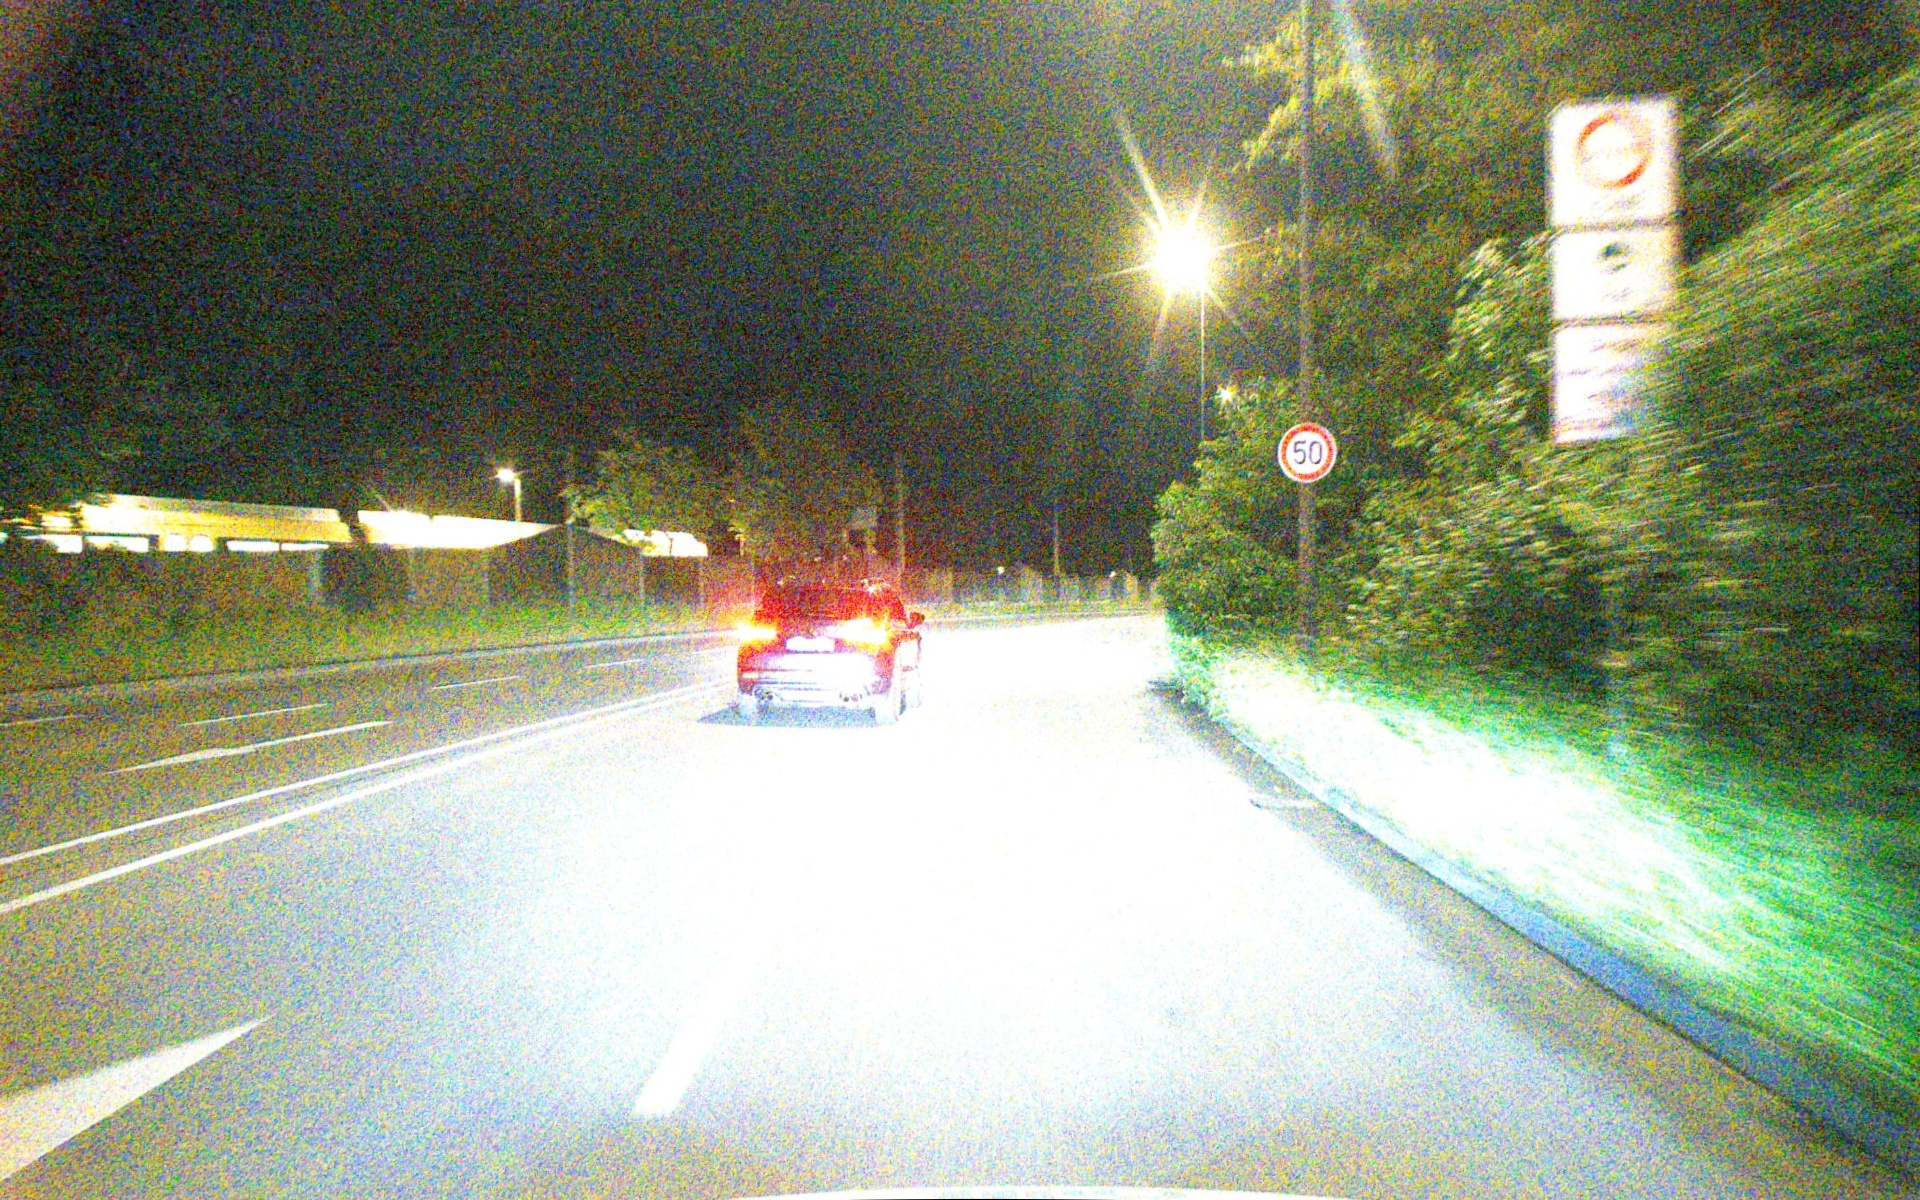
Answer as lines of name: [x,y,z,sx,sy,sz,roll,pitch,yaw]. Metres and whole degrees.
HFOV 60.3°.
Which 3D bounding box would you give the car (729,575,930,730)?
car: [-1.420,0.546,19.450,1.777,1.601,3.945,1,0,4]
